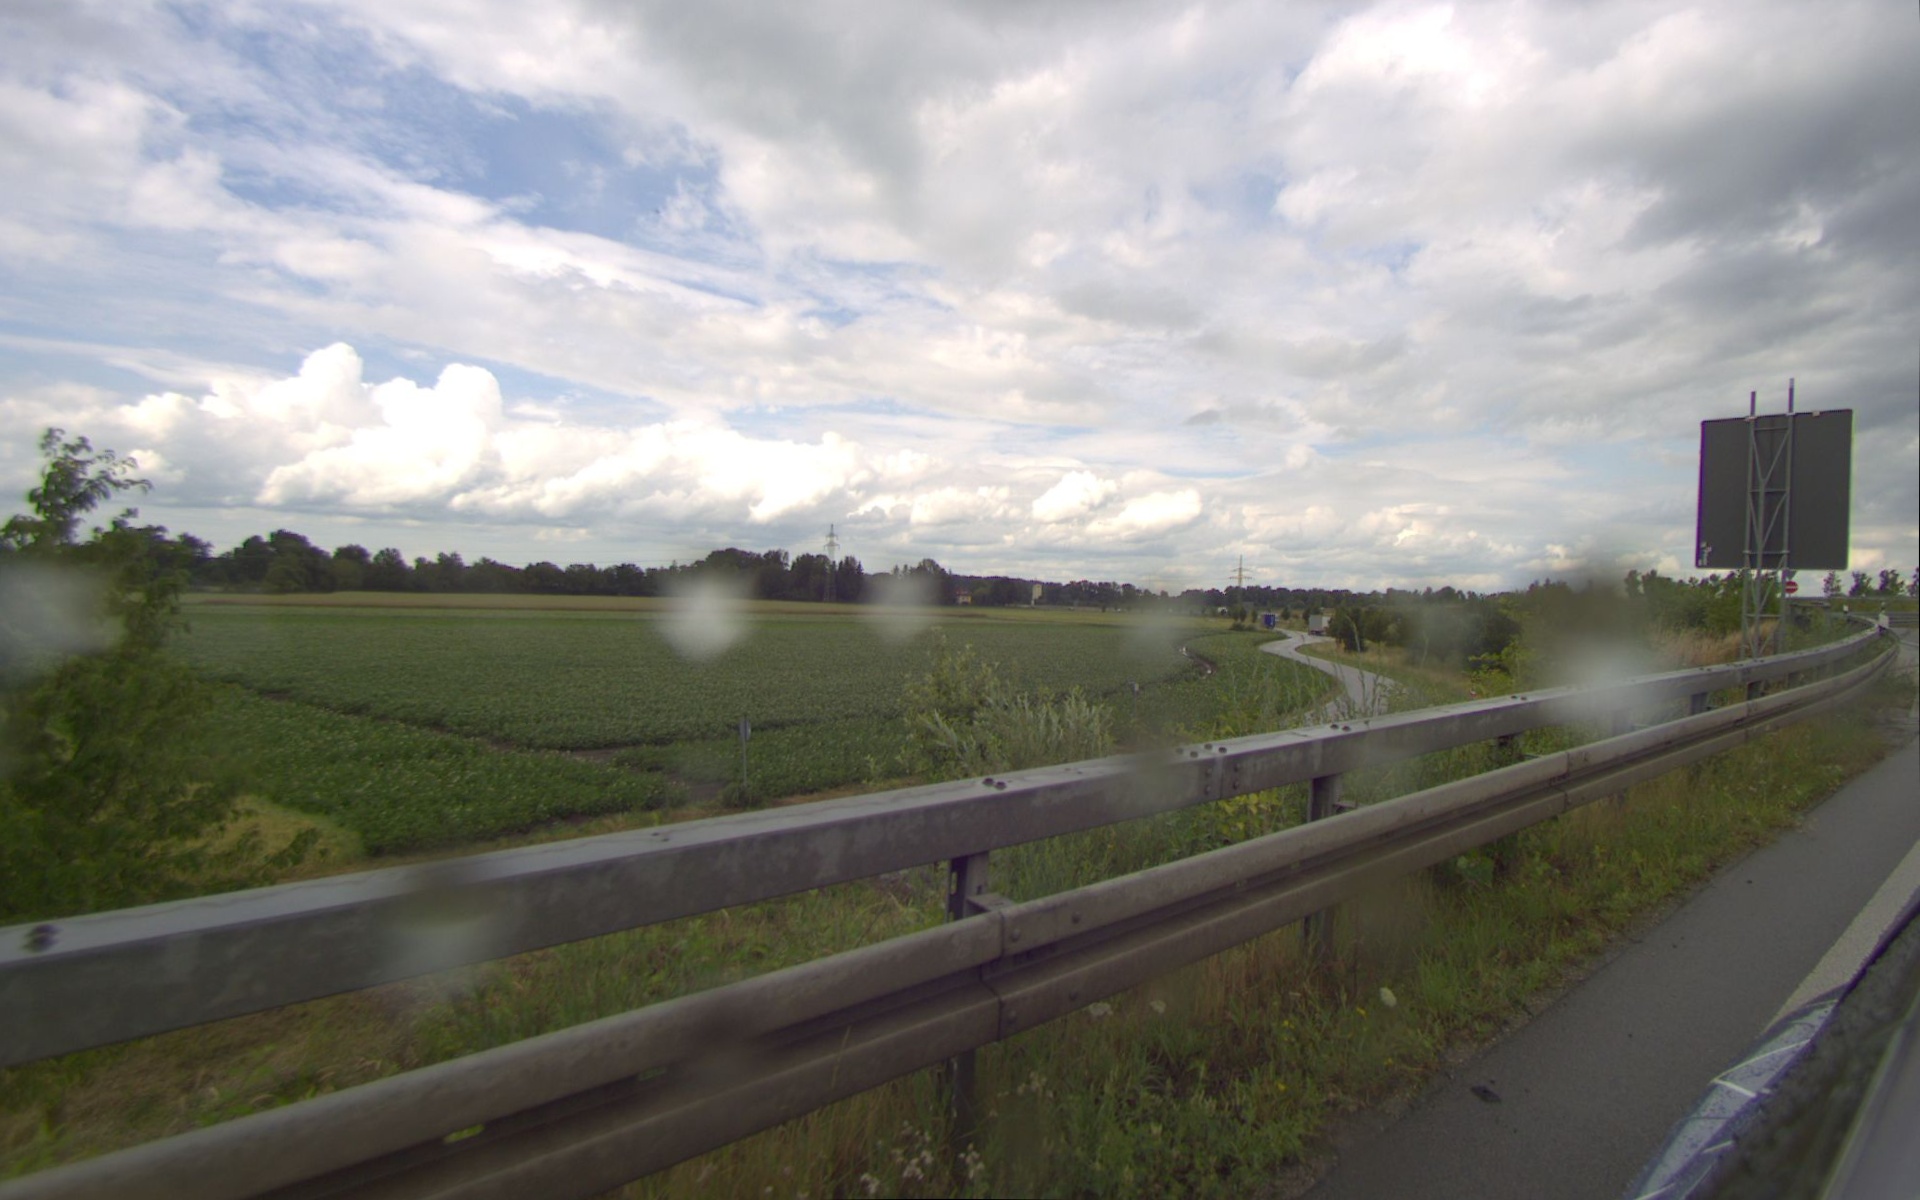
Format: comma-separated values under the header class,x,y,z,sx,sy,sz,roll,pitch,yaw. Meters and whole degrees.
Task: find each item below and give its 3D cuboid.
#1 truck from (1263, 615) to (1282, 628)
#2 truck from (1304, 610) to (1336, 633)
class,x,y,z,sx,sy,sz,roll,pitch,yaw
truck,70.412,4.787,228.017,2.580,2.779,6.923,-1,-1,5
truck,72.326,4.264,203.696,3.199,4.392,11.674,0,0,5
